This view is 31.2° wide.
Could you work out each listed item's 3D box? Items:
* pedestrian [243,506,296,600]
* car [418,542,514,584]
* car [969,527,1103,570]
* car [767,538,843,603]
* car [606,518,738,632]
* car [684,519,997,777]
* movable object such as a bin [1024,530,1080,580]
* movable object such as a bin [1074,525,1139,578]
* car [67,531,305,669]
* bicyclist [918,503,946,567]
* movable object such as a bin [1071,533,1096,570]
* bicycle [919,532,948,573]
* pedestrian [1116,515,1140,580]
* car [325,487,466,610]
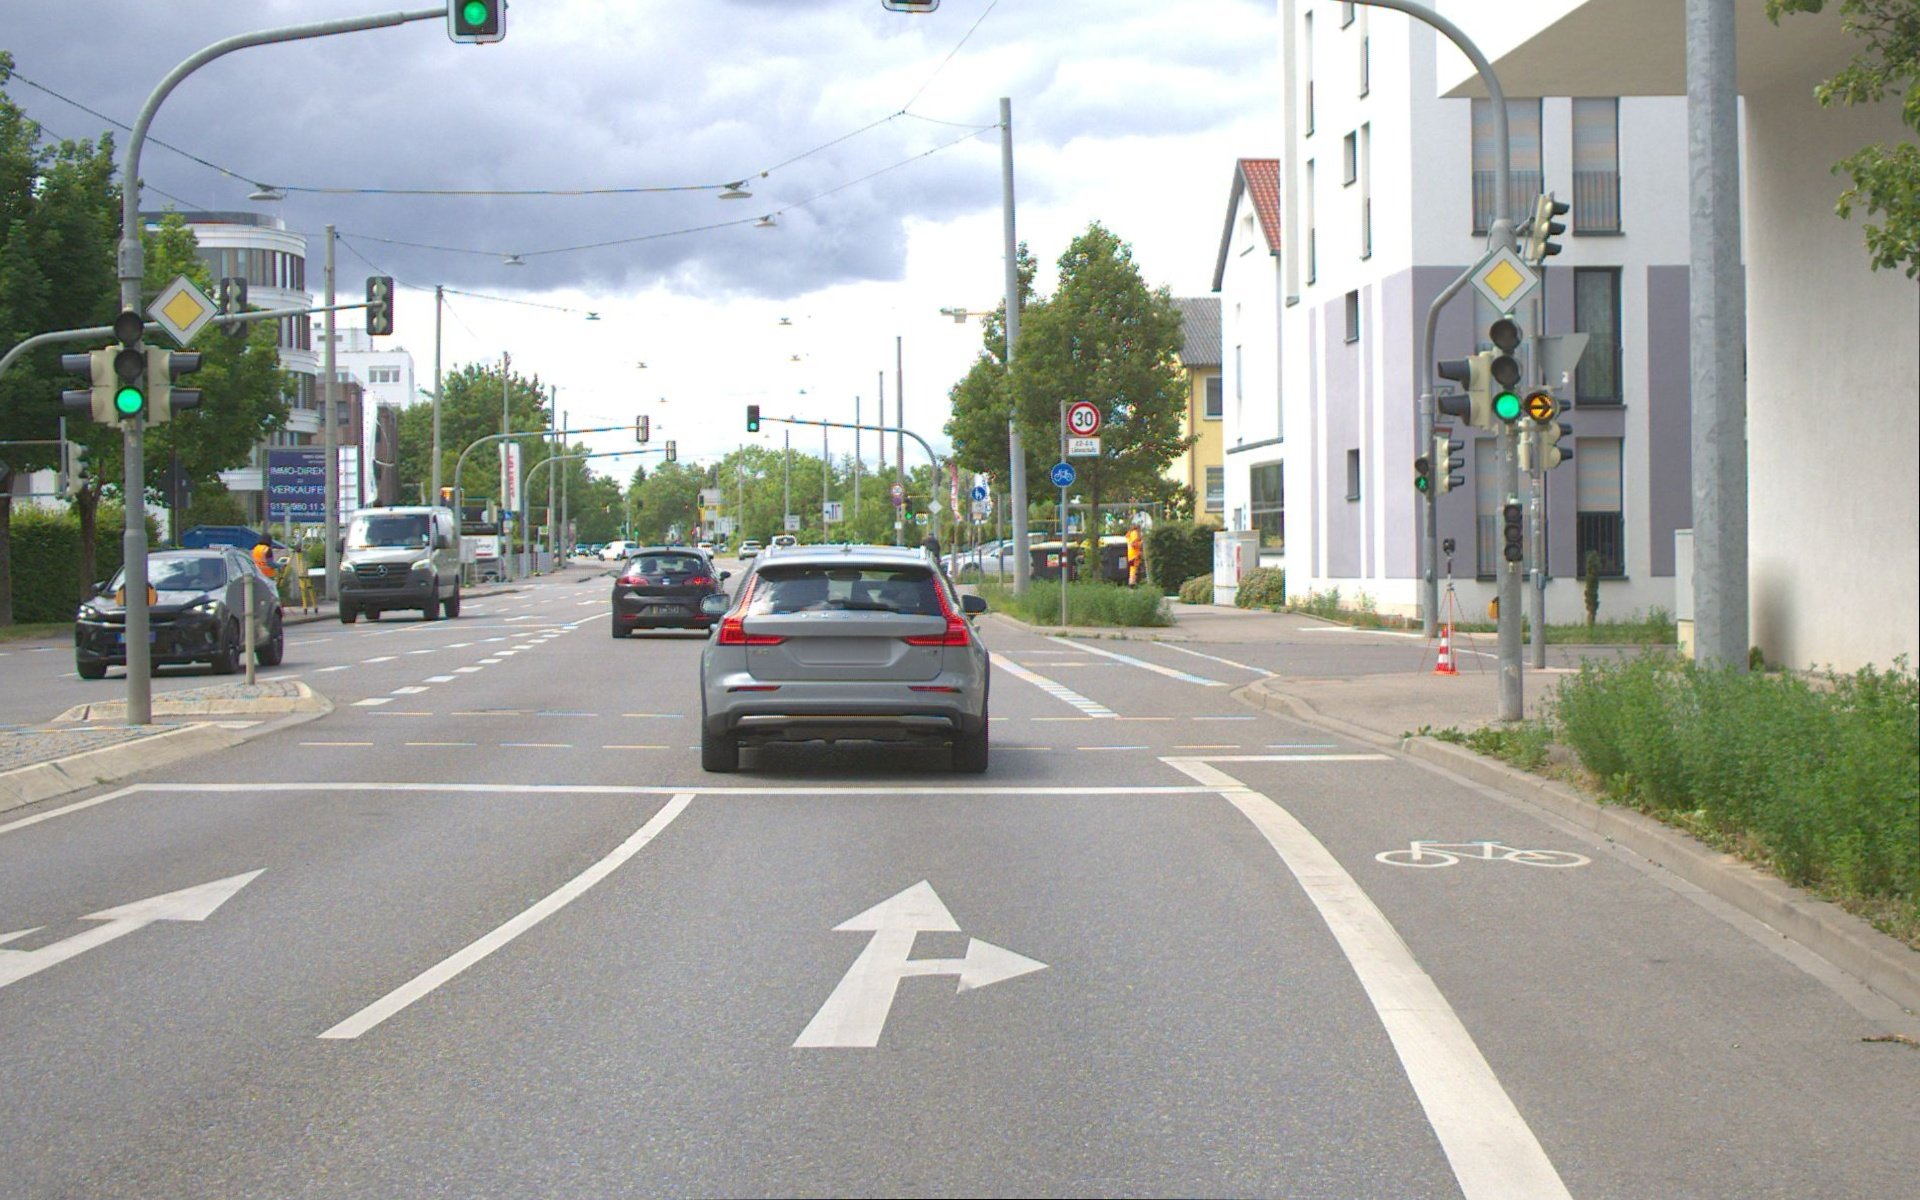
[{"bbox_3d":[-14.917,-1.010,74.251,0.725,2.007,0.808,1,0,40],"label":"pedestrian"},{"bbox_3d":[-22.150,-1.665,154.183,4.092,1.393,1.909,-6,3,-10],"label":"car"},{"bbox_3d":[2.734,-1.870,124.180,4.696,1.488,2.046,0,1,-3],"label":"car"},{"bbox_3d":[-4.250,-0.788,93.806,1.993,1.689,4.000,1,0,-3],"label":"car"},{"bbox_3d":[-4.621,-0.391,55.138,1.993,1.711,4.001,1,0,-5],"label":"car"},{"bbox_3d":[-0.822,0.290,23.248,1.895,1.549,4.000,1,0,-2],"label":"car"},{"bbox_3d":[2.553,-1.236,95.080,1.320,1.356,1.250,-1,0,14],"label":"movable object such as a bin"},{"bbox_3d":[4.077,-1.331,95.460,1.321,1.430,1.249,-1,0,34],"label":"movable object such as a bin"},{"bbox_3d":[-9.454,-0.005,42.350,1.885,1.547,4.540,-2,0,0],"label":"car"},{"bbox_3d":[-0.760,-1.759,92.950,0.638,1.670,0.890,-4,1,-2],"label":"bicyclist"},{"bbox_3d":[3.454,-1.348,96.015,0.567,1.023,0.405,-1,0,34],"label":"movable object such as a bin"},{"bbox_3d":[-0.716,-1.294,92.747,0.638,1.059,1.978,-4,1,-2],"label":"bicycle"},{"bbox_3d":[4.577,-1.428,93.567,0.507,1.759,0.500,1,0,14],"label":"pedestrian"},{"bbox_3d":[-12.119,-1.114,74.166,2.142,2.463,6.074,-2,1,-2],"label":"car"}]
